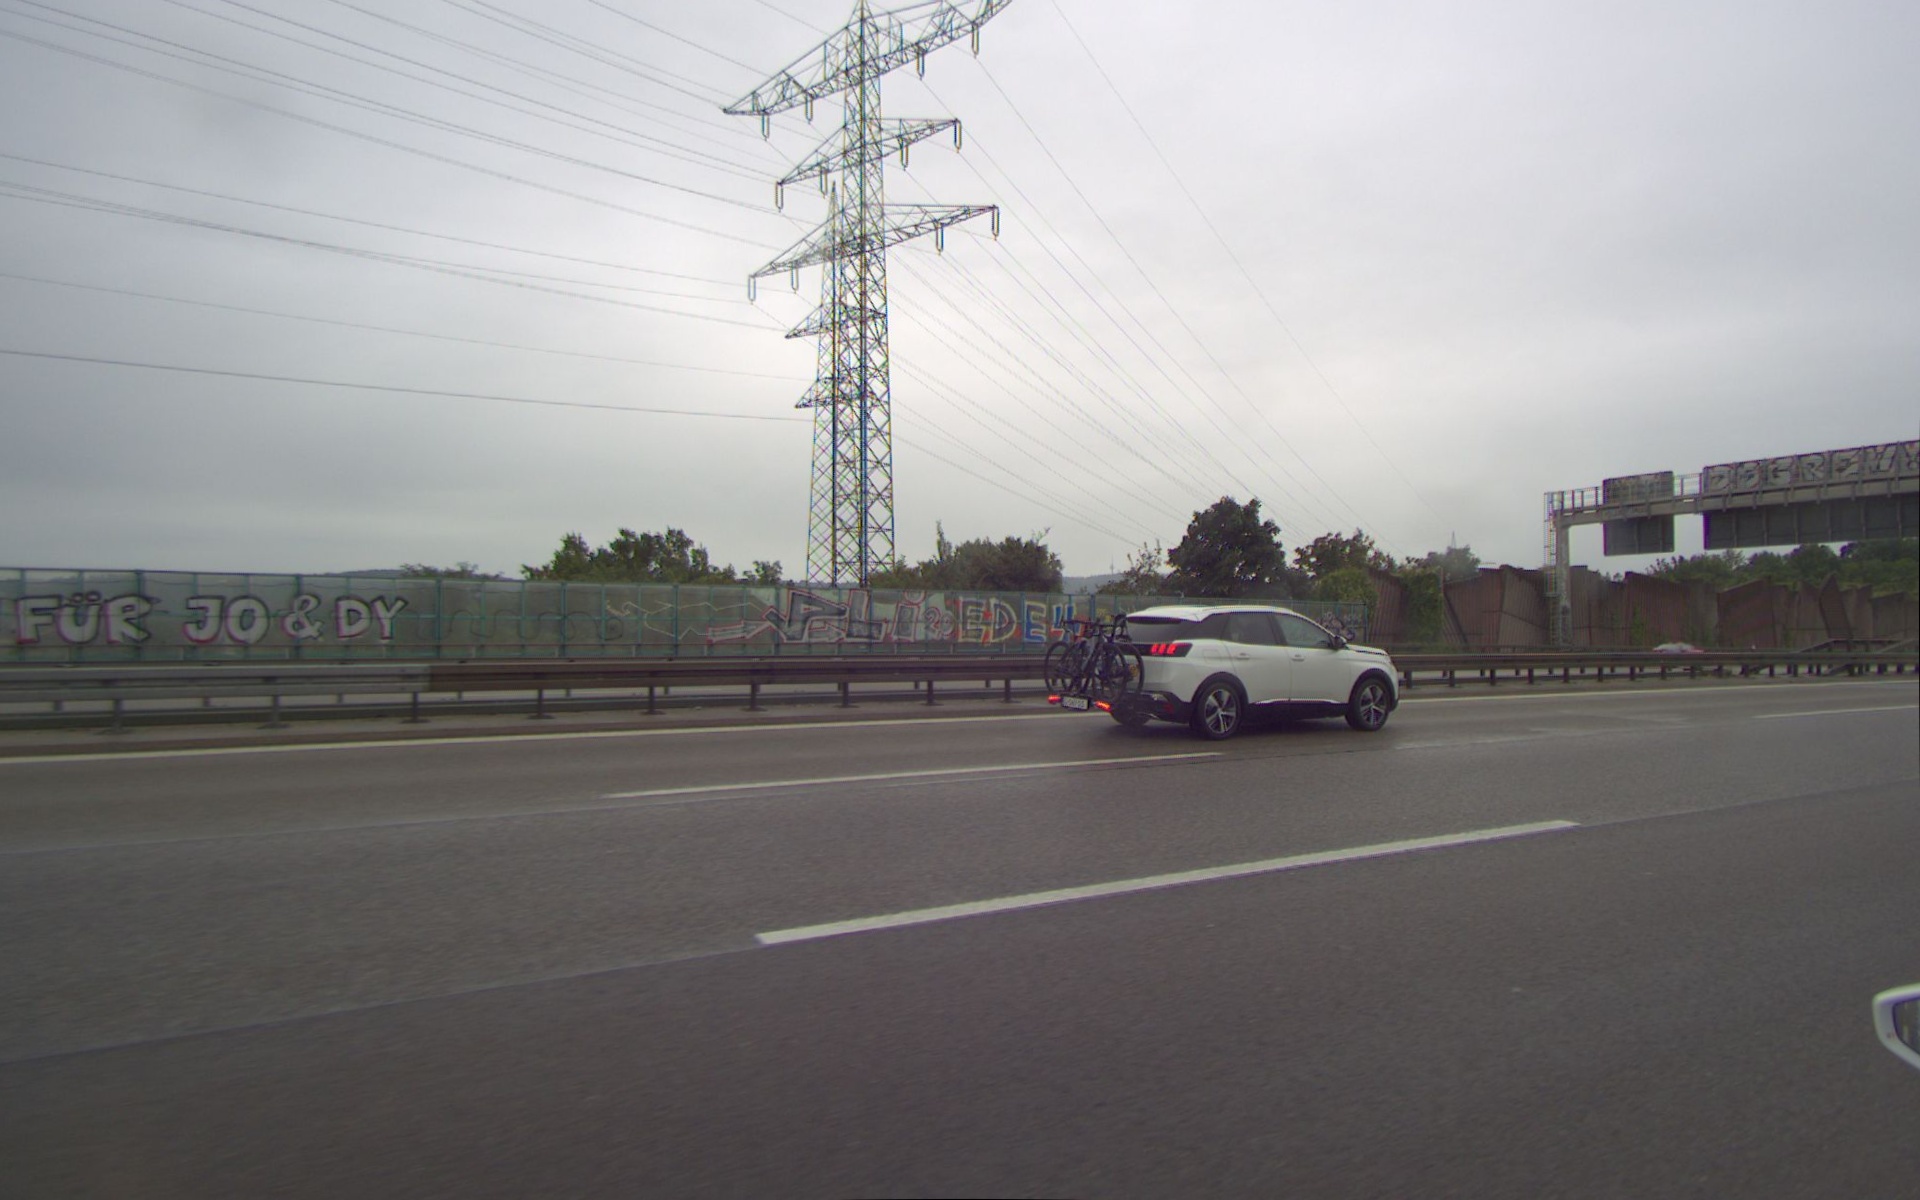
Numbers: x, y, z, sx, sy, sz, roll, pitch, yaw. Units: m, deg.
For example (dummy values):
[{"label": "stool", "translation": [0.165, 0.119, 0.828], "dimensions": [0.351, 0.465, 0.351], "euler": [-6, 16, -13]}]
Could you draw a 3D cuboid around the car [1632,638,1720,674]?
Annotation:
[{"label": "car", "translation": [38.516, 2.994, 54.033], "dimensions": [5.047, 1.807, 1.984], "euler": [1, -1, -30]}]

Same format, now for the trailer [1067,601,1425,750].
[{"label": "trailer", "translation": [3.771, 0.888, 13.042], "dimensions": [4.512, 1.646, 1.807], "euler": [1, -1, -29]}]
